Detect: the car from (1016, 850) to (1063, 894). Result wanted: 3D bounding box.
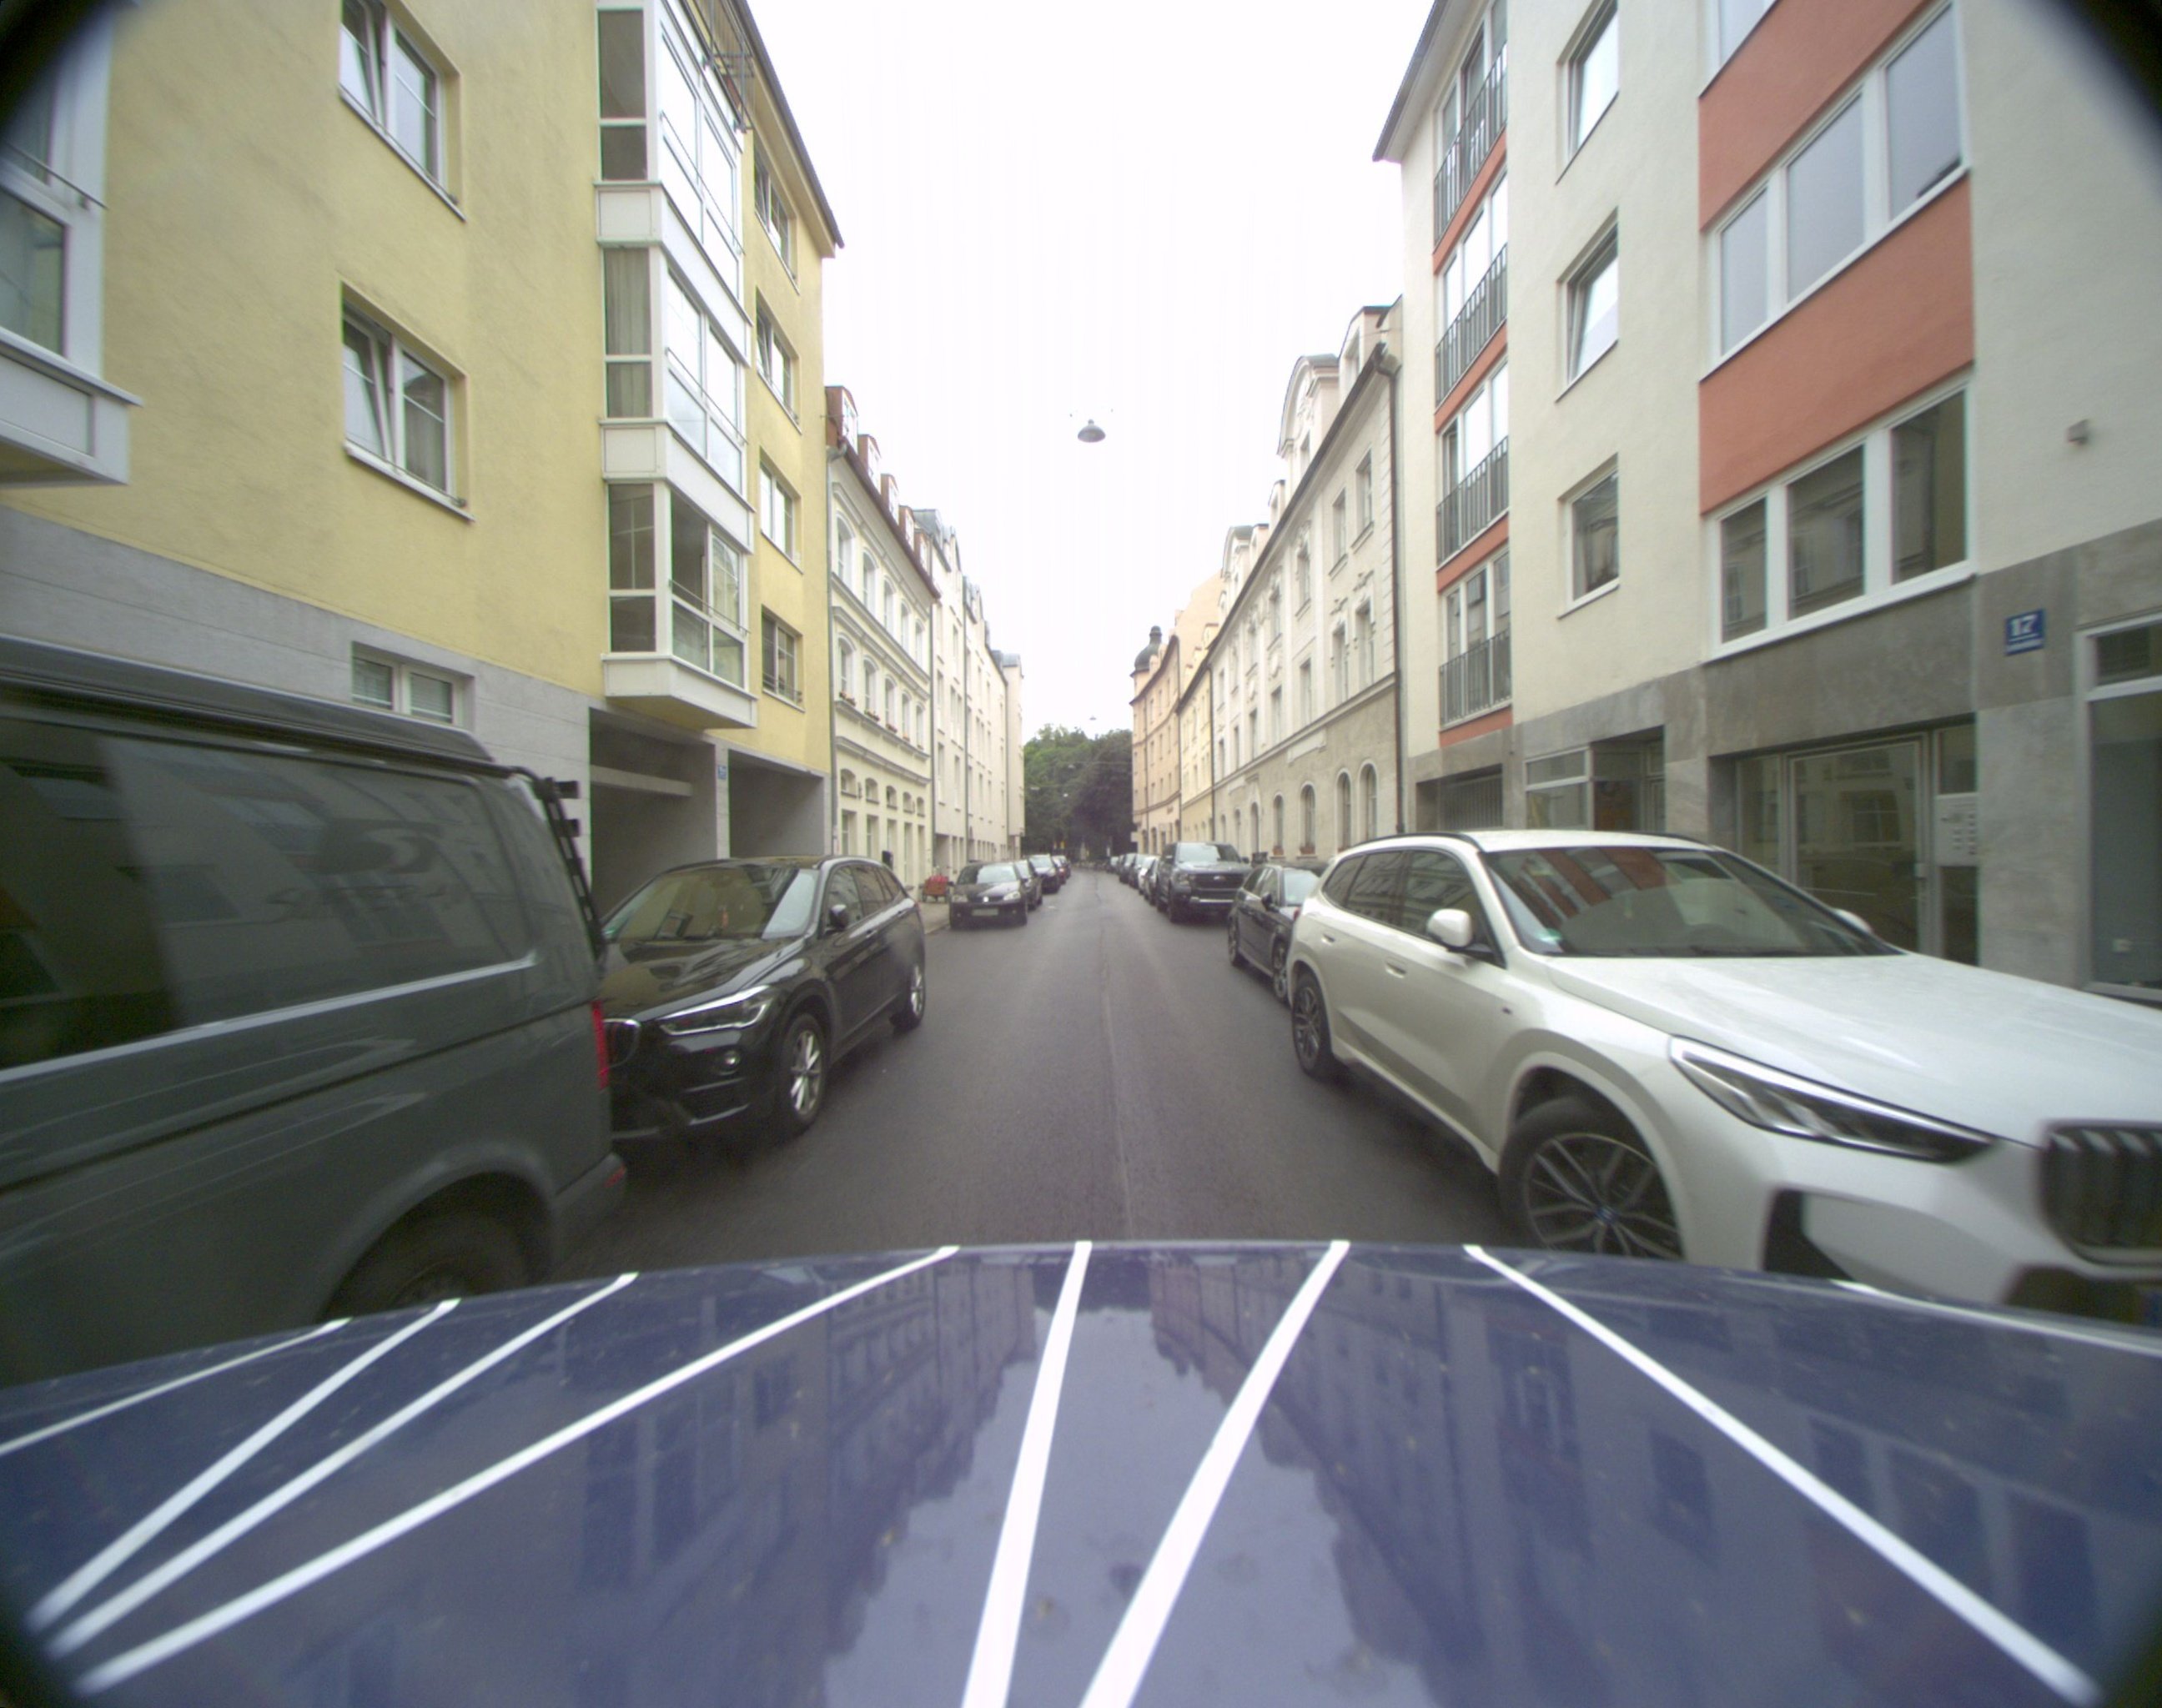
[{"bbox_3d":[-1.754,0.750,33.158,1.739,1.743,3.686,-2,0,0],"label":"car"}]

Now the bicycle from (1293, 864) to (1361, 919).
[{"bbox_3d":[5.895,0.853,18.389,0.754,1.098,2.826,-7,0,3],"label":"bicycle"}]

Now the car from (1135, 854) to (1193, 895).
[{"bbox_3d":[3.241,0.765,30.275,1.951,1.470,3.716,1,0,1],"label":"car"}]

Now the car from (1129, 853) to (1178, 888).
[{"bbox_3d":[3.330,0.722,35.501,1.951,1.470,3.716,1,0,1],"label":"car"}]

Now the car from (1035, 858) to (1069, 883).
[{"bbox_3d":[-1.613,0.906,43.545,1.739,1.297,3.686,-2,0,0],"label":"car"}]

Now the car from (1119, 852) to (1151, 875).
[{"bbox_3d":[3.693,0.613,52.515,1.951,1.470,3.979,1,0,1],"label":"car"}]

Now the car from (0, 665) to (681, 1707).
[{"bbox_3d":[-2.577,0.755,0.446,1.877,2.002,5.106,-2,1,0],"label":"car"}]

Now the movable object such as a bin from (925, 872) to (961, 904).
[{"bbox_3d":[-4.500,1.126,24.956,0.740,0.926,1.650,-7,-2,1],"label":"movable object such as a bin"}]

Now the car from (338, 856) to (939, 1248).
[{"bbox_3d":[-2.399,0.911,5.563,1.837,1.676,4.228,-2,1,0],"label":"car"}]

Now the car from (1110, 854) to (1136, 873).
[{"bbox_3d":[3.411,0.747,62.415,1.951,1.470,3.979,1,0,1],"label":"car"}]

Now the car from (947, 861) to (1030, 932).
[{"bbox_3d":[-2.153,0.933,18.602,1.750,1.433,4.227,-2,0,-4],"label":"car"}]

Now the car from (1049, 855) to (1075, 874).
[{"bbox_3d":[-1.376,0.744,56.264,1.739,1.297,3.686,-2,0,0],"label":"car"}]

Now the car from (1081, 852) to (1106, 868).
[{"bbox_3d":[1.247,0.609,76.220,1.800,1.501,3.996,1,0,-10],"label":"car"}]

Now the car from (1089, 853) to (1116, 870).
[{"bbox_3d":[1.994,0.665,72.020,1.800,1.501,3.996,1,0,-10],"label":"car"}]

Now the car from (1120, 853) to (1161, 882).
[{"bbox_3d":[3.169,0.702,41.208,1.951,1.470,3.979,1,0,1],"label":"car"}]

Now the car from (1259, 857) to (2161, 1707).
[{"bbox_3d":[2.336,0.835,3.609,1.786,1.596,4.307,1,0,-2],"label":"car"}]

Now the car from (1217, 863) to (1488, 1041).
[{"bbox_3d":[2.709,0.871,8.593,1.632,1.467,4.029,1,0,1],"label":"car"}]

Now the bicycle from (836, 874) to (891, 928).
[{"bbox_3d":[-4.848,1.023,17.086,0.636,1.155,1.869,1,-1,2],"label":"bicycle"}]

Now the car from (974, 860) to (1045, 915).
[{"bbox_3d":[-2.079,0.940,23.138,1.739,1.433,3.686,-2,0,0],"label":"car"}]

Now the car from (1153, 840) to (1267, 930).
[{"bbox_3d":[2.938,0.631,18.403,1.951,1.850,4.908,1,0,1],"label":"car"}]

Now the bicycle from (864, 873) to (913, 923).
[{"bbox_3d":[-4.807,1.066,19.087,0.636,1.155,1.868,3,-1,2],"label":"bicycle"}]

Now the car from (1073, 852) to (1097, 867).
[{"bbox_3d":[0.431,0.594,80.325,1.800,1.501,3.996,1,0,-10],"label":"car"}]

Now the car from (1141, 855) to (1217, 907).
[{"bbox_3d":[2.994,0.794,24.038,1.951,1.470,3.716,1,0,1],"label":"car"}]
